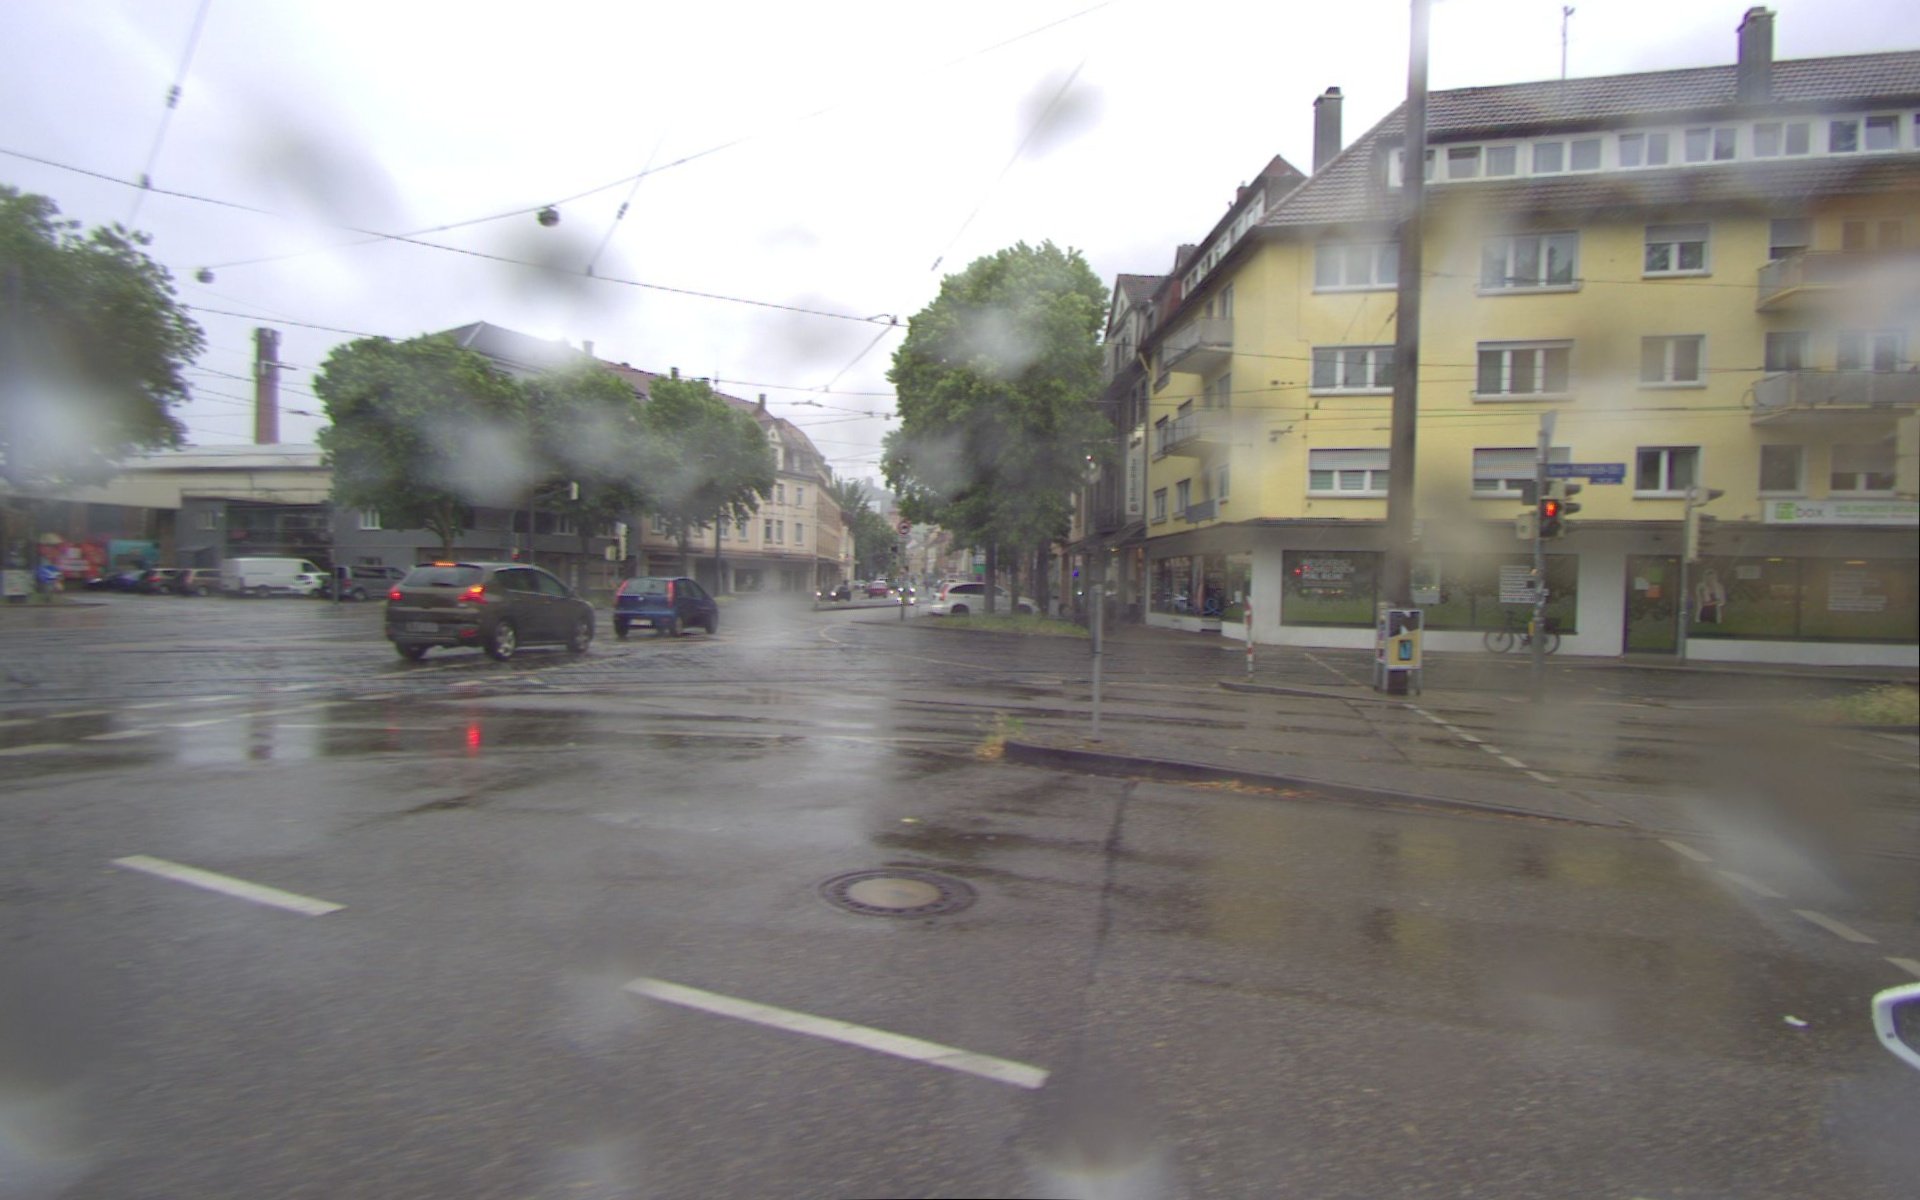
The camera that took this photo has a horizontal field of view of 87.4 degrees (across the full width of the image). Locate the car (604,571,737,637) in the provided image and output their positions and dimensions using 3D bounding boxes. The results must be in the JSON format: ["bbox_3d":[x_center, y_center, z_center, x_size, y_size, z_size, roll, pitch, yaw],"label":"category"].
[{"bbox_3d":[-7.227,0.158,25.480,1.850,1.478,3.835,3,-2,6],"label":"car"}]

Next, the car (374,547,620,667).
[{"bbox_3d":[-7.735,0.074,17.281,1.771,1.732,4.193,3,1,9],"label":"car"}]

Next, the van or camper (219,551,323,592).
[{"bbox_3d":[-40.371,-1.638,58.960,1.962,2.103,4.653,2,0,23],"label":"van or camper"}]

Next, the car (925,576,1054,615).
[{"bbox_3d":[1.142,-0.197,40.477,4.897,1.494,1.997,1,1,-8],"label":"car"}]

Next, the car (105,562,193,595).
[{"bbox_3d":[-51.829,-1.367,64.241,1.966,1.954,3.988,4,2,34],"label":"car"}]

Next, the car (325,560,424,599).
[{"bbox_3d":[-32.950,-1.120,56.620,2.031,2.040,4.389,3,1,30],"label":"car"}]

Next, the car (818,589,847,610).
[{"bbox_3d":[-11.050,-0.030,87.307,1.961,1.711,4.000,3,0,-1],"label":"car"}]

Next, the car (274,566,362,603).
[{"bbox_3d":[-37.605,-0.882,58.939,1.960,2.041,4.001,2,1,17],"label":"car"}]

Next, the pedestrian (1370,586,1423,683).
[{"bbox_3d":[8.010,0.609,18.422,0.799,1.700,1.016,2,1,26],"label":"pedestrian"}]

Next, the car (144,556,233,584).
[{"bbox_3d":[-48.540,-1.861,63.250,1.962,1.635,3.996,2,1,25],"label":"car"}]

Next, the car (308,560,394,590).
[{"bbox_3d":[-35.433,-1.454,58.544,1.889,1.640,4.001,2,1,17],"label":"car"}]

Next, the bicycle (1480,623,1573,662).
[{"bbox_3d":[14.801,1.108,26.281,2.005,0.909,0.614,2,1,15],"label":"bicycle"}]

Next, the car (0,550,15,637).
[{"bbox_3d":[-17.538,-0.100,16.068,1.783,1.557,4.176,1,1,-16],"label":"car"}]

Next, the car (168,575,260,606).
[{"bbox_3d":[-45.383,-0.579,61.178,1.962,1.635,3.998,2,-1,25],"label":"car"}]
